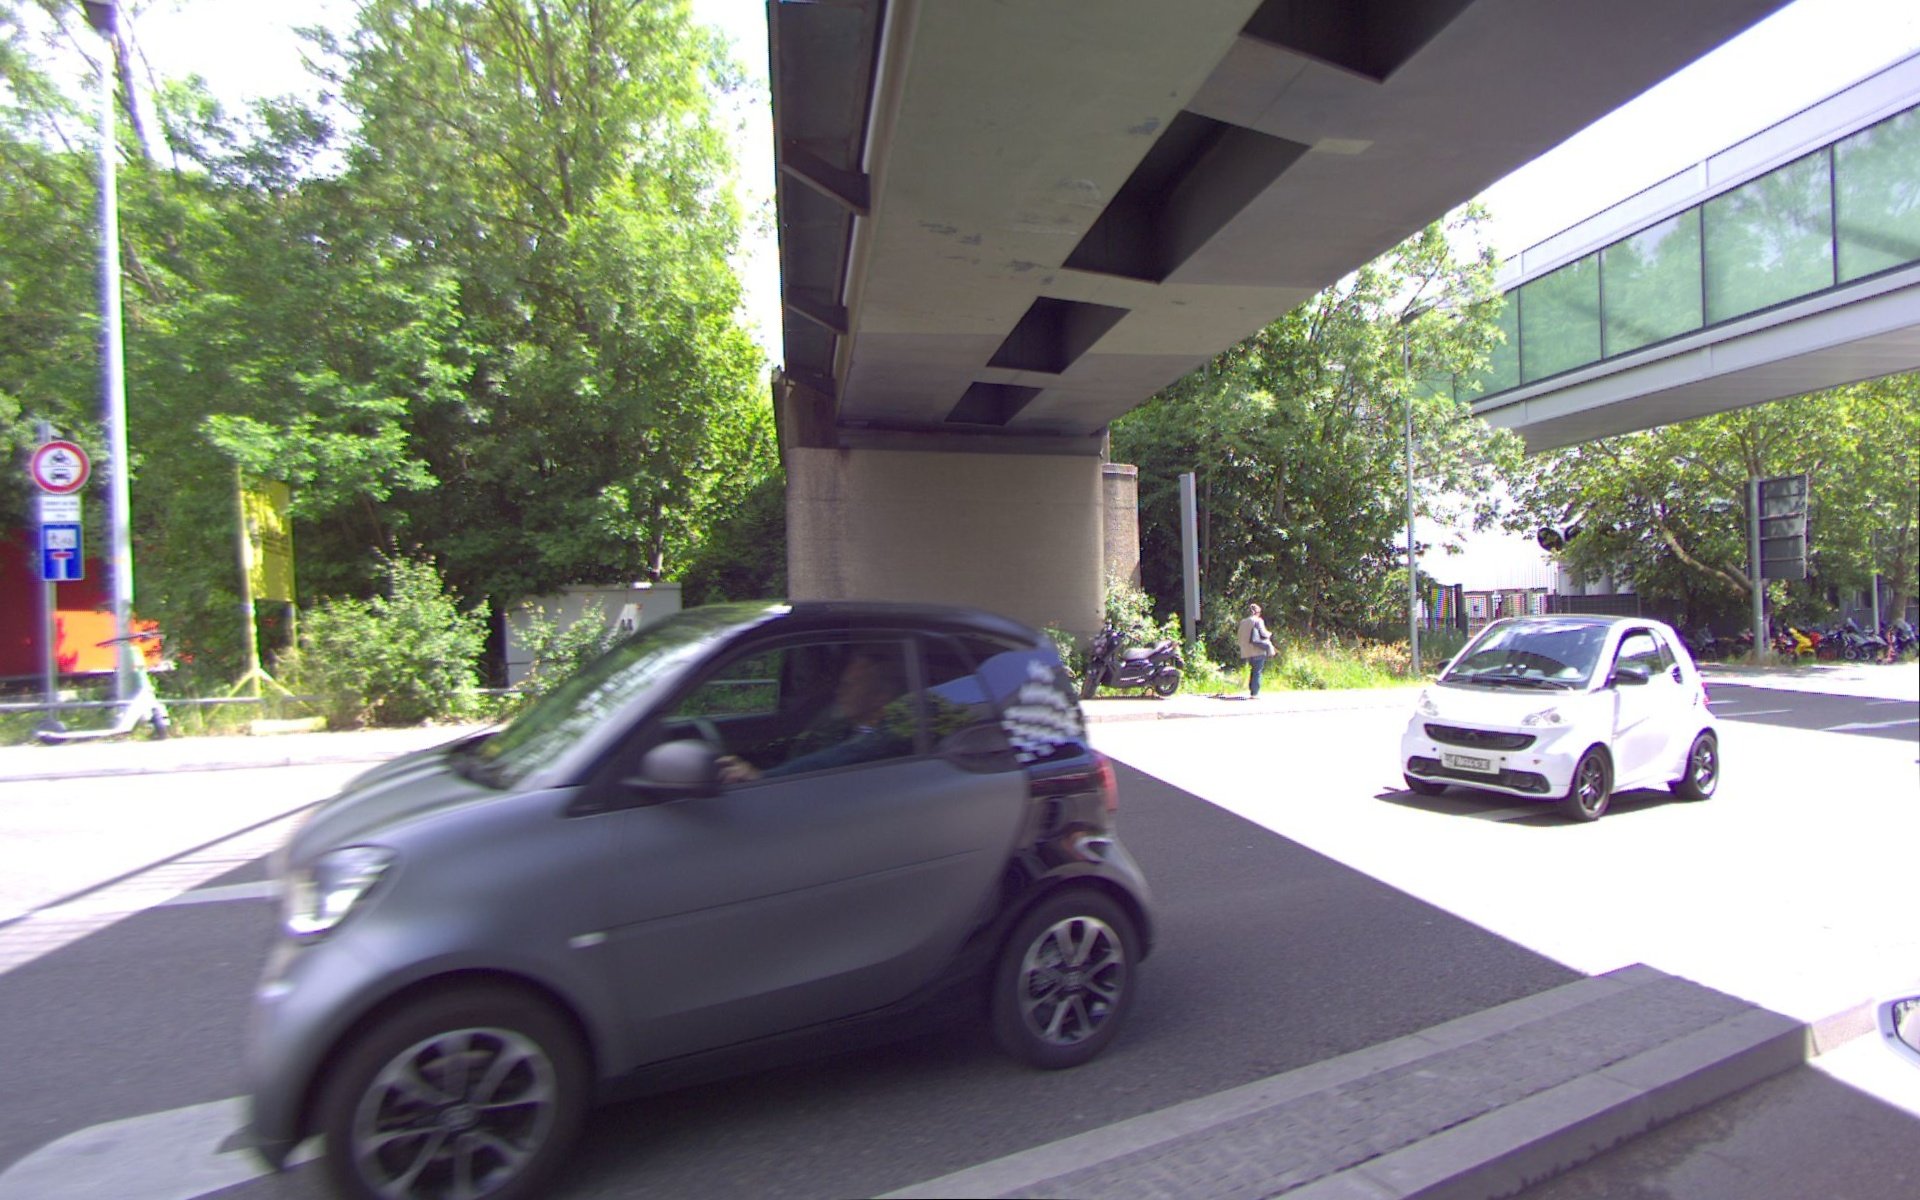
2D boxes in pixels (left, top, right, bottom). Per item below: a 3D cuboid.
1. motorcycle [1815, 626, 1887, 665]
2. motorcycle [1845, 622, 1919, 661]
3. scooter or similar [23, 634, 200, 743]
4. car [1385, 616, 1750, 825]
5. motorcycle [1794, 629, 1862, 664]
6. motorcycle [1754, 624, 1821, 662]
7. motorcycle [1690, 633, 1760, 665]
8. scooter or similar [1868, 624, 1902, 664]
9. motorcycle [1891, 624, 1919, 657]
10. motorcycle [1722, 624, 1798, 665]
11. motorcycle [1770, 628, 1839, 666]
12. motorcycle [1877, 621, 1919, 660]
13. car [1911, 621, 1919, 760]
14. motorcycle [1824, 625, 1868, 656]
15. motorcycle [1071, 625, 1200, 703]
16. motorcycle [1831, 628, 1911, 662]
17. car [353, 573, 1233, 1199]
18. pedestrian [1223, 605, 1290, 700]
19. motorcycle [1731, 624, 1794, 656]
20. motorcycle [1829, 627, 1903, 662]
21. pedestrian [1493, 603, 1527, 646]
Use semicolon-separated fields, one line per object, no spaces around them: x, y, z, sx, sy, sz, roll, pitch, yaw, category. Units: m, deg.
30.496;1.535;34.399;0.845;1.195;1.732;-2;2;-39;motorcycle
33.994;1.511;37.014;0.876;1.308;1.935;0;2;-8;motorcycle
-9.156;0.934;10.885;1.362;1.135;0.476;0;-2;-18;scooter or similar
5.338;0.913;8.772;3.081;1.508;1.498;1;-1;-32;car
29.453;1.571;34.104;0.766;1.047;1.585;-1;2;-27;motorcycle
27.263;1.417;33.110;0.769;1.138;1.579;-1;2;-37;motorcycle
24.330;1.557;31.981;0.762;0.880;1.745;0;2;-8;motorcycle
29.532;1.405;32.067;1.462;1.252;0.352;2;0;-30;scooter or similar
37.282;1.588;38.758;0.801;1.195;1.878;-1;2;-13;motorcycle
25.421;1.395;31.941;0.764;1.187;1.739;-1;2;-20;motorcycle
28.237;1.566;33.600;0.766;1.138;1.585;-1;2;-27;motorcycle
36.077;1.535;37.993;0.848;1.362;1.935;0;2;-8;motorcycle
12.536;1.006;11.243;3.936;1.508;1.701;1;-2;-30;car
37.804;1.703;42.841;1.955;1.226;0.651;-1;2;-25;motorcycle
2.965;1.058;16.881;2.231;1.214;0.636;2;1;-30;motorcycle
31.619;1.579;34.885;0.914;1.130;1.916;2;-4;-39;motorcycle
-0.567;0.739;3.613;2.706;1.552;1.561;1;-1;-30;car
5.281;0.915;17.926;0.803;1.633;0.764;1;1;-30;pedestrian
31.710;1.575;39.721;0.903;1.131;1.937;0;2;-1;motorcycle
32.840;1.611;36.441;0.903;1.131;1.937;0;2;-1;motorcycle
21.949;0.972;40.098;0.879;1.724;0.971;1;-1;-43;pedestrian
